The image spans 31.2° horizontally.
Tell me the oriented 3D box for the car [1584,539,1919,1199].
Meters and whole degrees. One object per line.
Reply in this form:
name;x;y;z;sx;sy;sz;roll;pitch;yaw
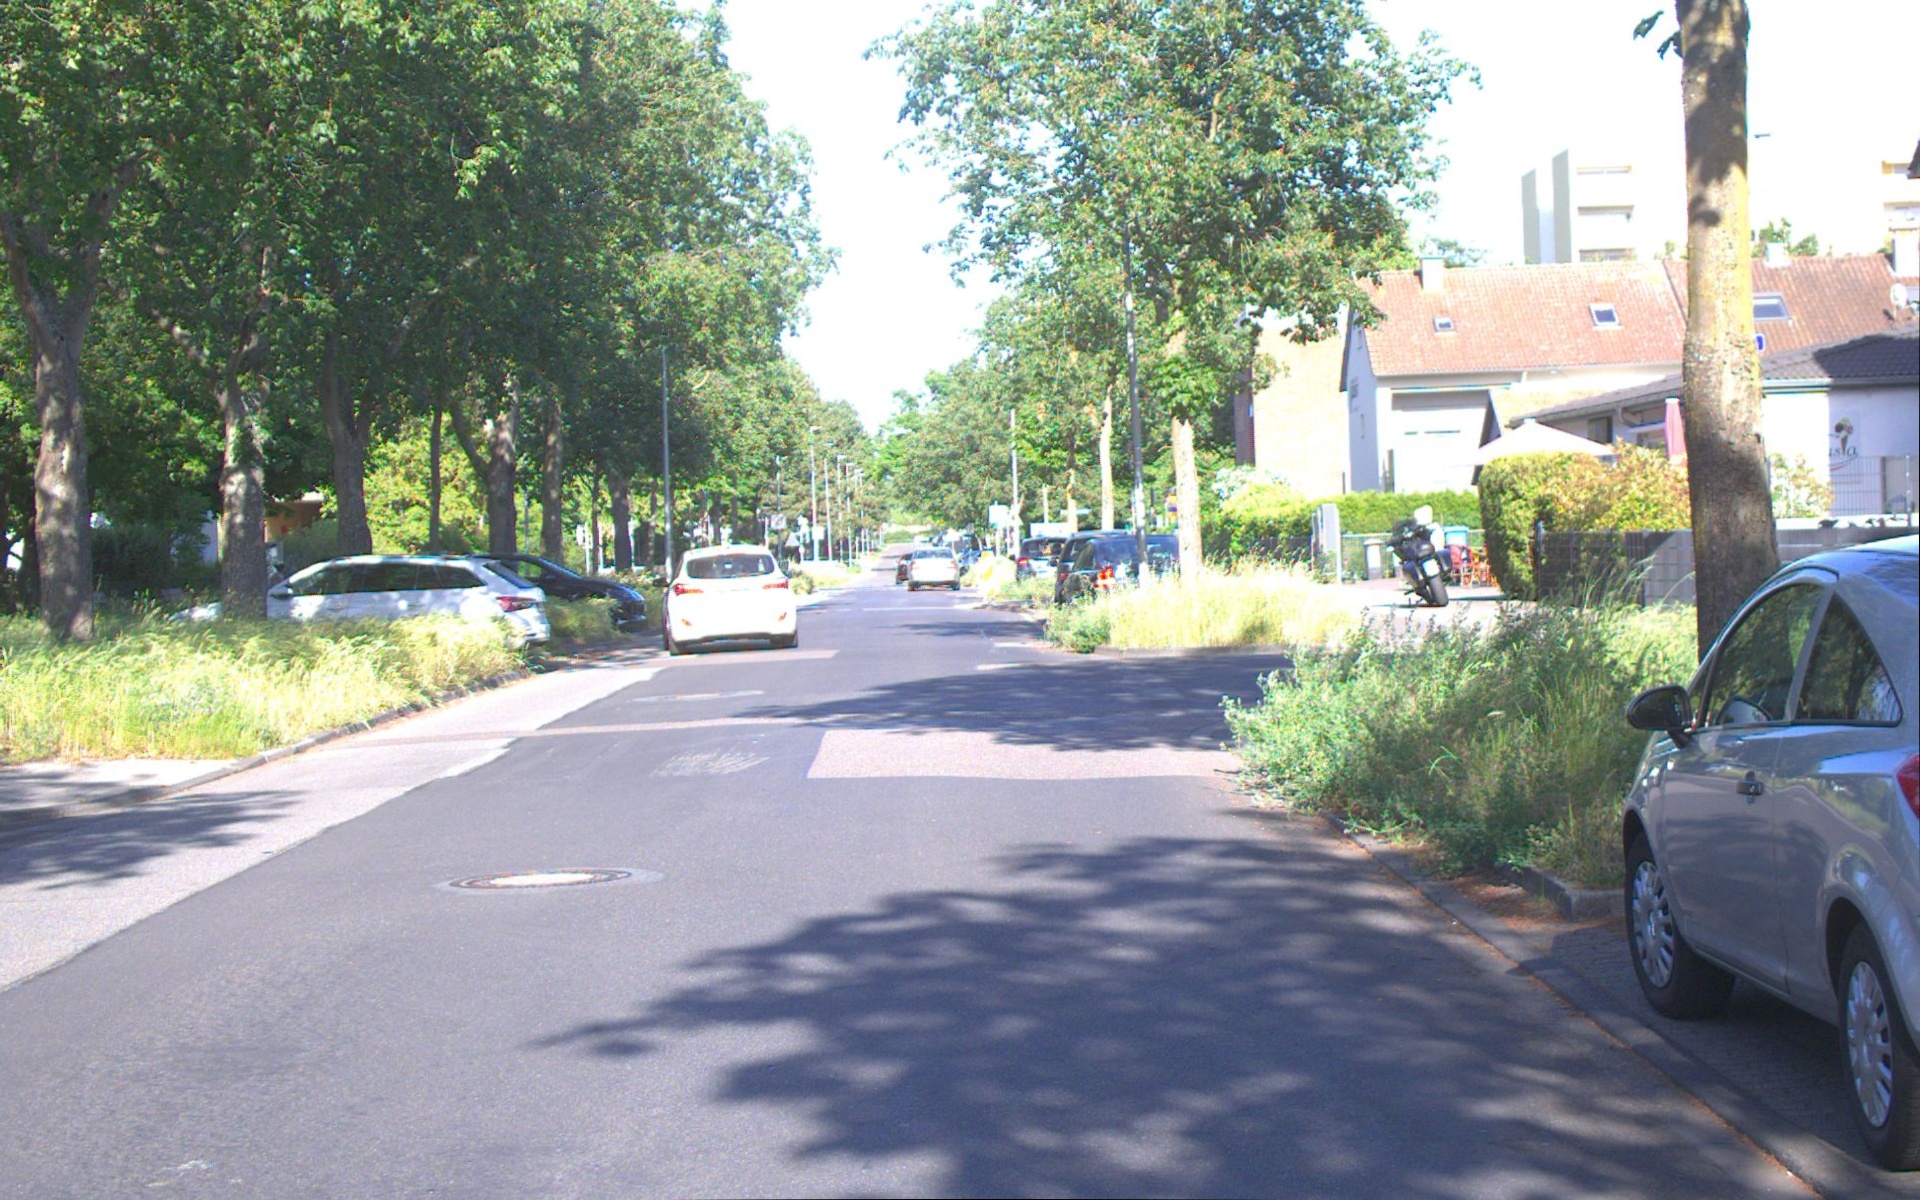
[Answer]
car;2.910;0.581;9.513;1.994;1.505;3.999;-3;0;6

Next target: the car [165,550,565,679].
car;-7.485;0.165;43.561;4.671;1.498;2.000;-1;1;1

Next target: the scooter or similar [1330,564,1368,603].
scooter or similar;8.667;-0.368;76.666;0.368;0.855;1.412;-1;1;-14

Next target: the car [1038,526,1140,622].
car;2.271;-0.466;61.303;1.610;1.616;4.382;1;0;0

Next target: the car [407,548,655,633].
car;-7.864;-0.185;63.330;4.367;1.526;1.808;0;0;-1

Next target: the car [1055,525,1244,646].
car;2.688;-0.224;49.765;1.993;1.616;4.382;1;0;-7

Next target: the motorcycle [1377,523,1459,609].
motorcycle;6.896;-0.520;51.855;0.818;1.223;2.352;-3;1;-1

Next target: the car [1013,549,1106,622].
car;2.529;-0.362;88.445;1.993;1.722;4.000;-3;0;-3

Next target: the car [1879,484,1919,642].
car;11.847;-0.450;35.803;3.986;1.634;1.777;-2;1;-6

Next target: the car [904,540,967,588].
car;-0.806;-1.185;113.208;1.993;1.503;3.658;1;0;-1

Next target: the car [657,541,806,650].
car;-3.309;-0.097;49.183;1.993;1.450;4.225;-2;1;-5
